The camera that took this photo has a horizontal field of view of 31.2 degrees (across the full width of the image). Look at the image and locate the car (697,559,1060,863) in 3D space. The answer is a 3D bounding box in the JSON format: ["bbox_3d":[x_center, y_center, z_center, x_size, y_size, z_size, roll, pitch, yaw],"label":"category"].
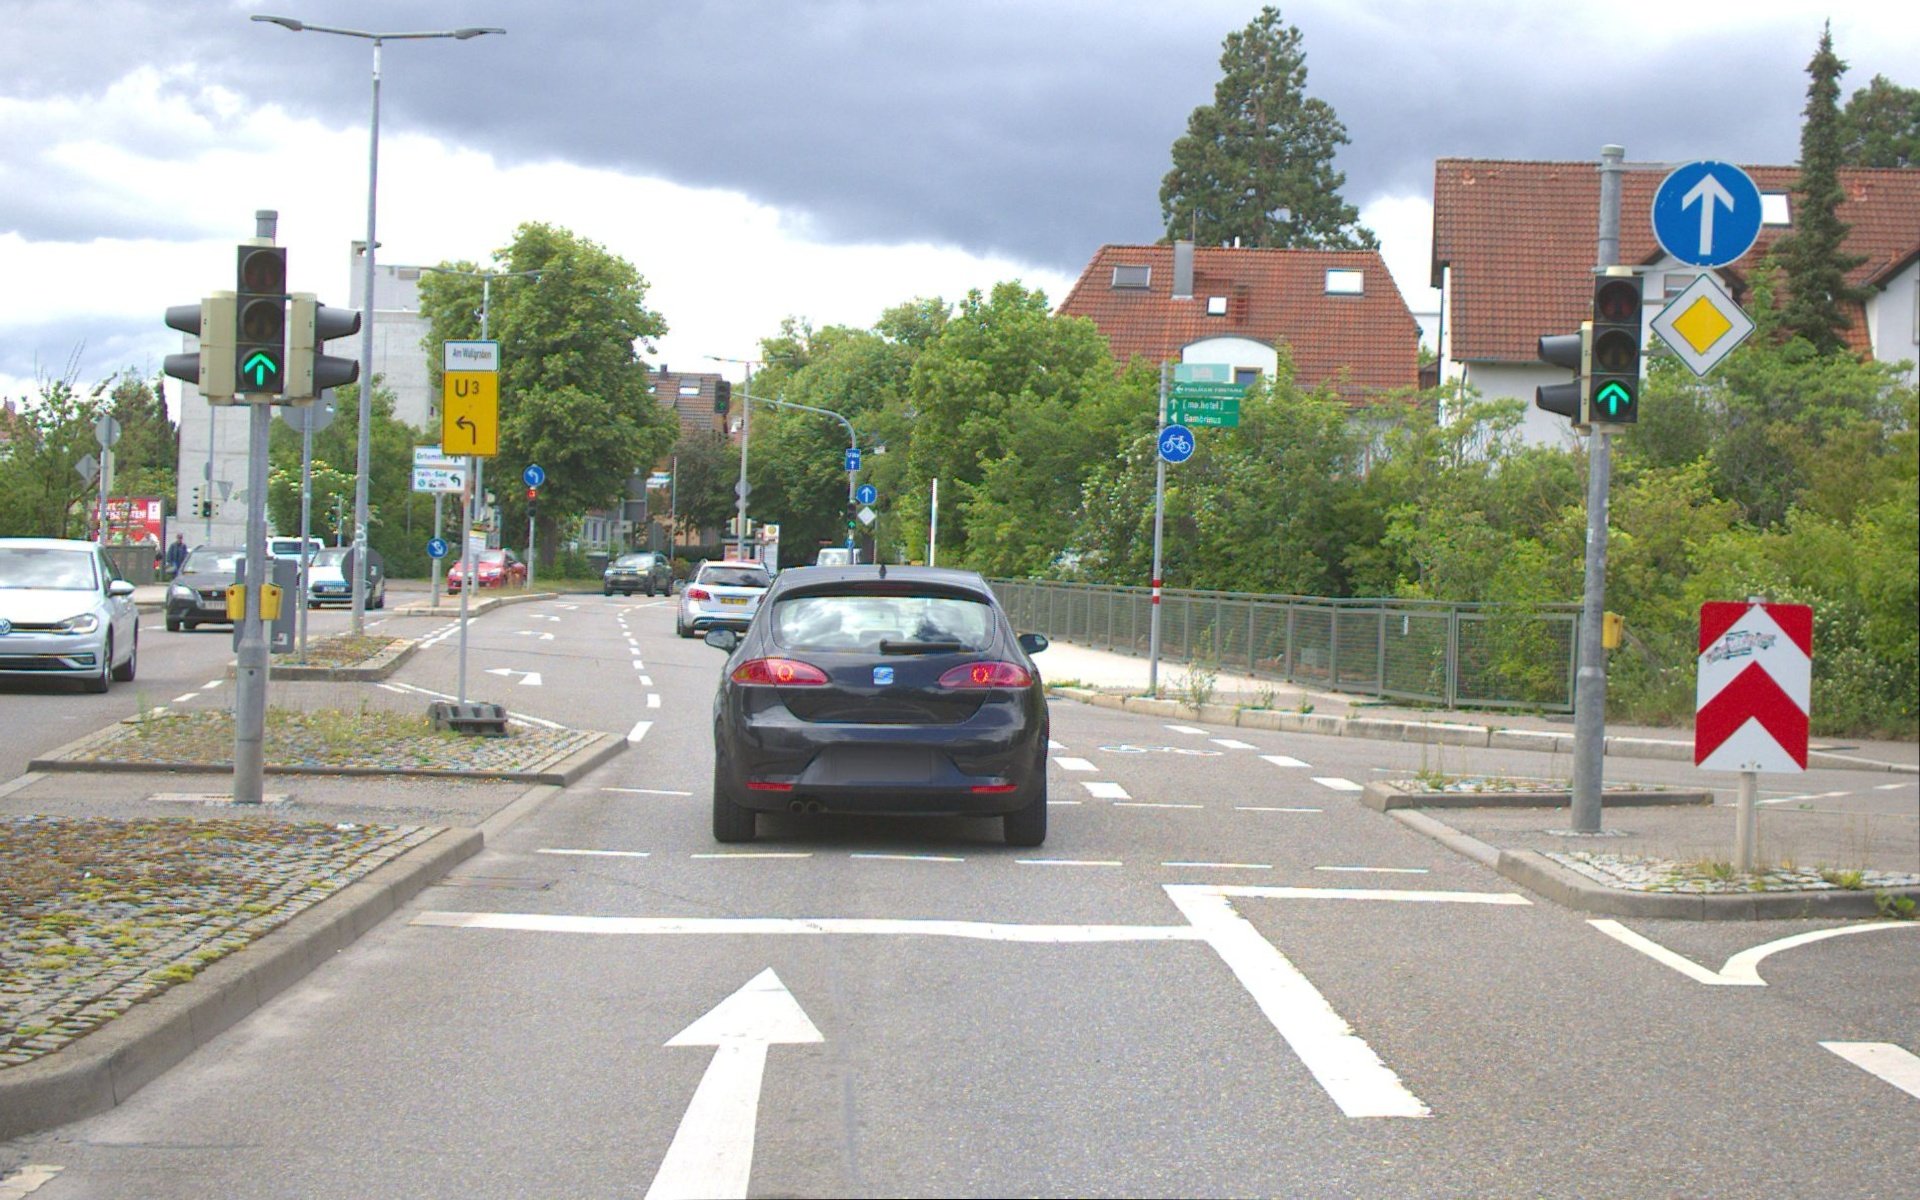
[{"bbox_3d":[-0.471,0.527,18.786,1.759,1.444,3.715,1,1,-2],"label":"car"}]

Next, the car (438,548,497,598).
[{"bbox_3d":[-15.185,-0.846,106.107,1.720,1.443,4.068,2,0,-7],"label":"car"}]

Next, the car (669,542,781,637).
[{"bbox_3d":[-4.496,-0.233,65.260,1.818,1.693,4.254,1,1,-8],"label":"car"}]

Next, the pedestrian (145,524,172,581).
[{"bbox_3d":[-23.439,-1.402,100.564,0.656,1.628,0.833,3,0,-12],"label":"pedestrian"}]

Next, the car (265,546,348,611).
[{"bbox_3d":[-15.202,-0.515,80.124,1.642,1.404,3.820,2,0,-7],"label":"car"}]

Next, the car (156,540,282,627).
[{"bbox_3d":[-12.324,-0.292,57.348,1.720,1.386,3.919,0,1,-7],"label":"car"}]

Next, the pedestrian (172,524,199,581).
[{"bbox_3d":[-22.683,-1.380,100.655,0.656,1.628,1.071,3,0,-12],"label":"pedestrian"}]

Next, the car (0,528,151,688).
[{"bbox_3d":[-8.996,0.040,33.401,1.798,1.439,3.949,1,1,-7],"label":"car"}]

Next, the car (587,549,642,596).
[{"bbox_3d":[-12.732,-1.020,126.526,1.822,1.621,4.280,2,0,-7],"label":"car"}]

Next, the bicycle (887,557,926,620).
[{"bbox_3d":[-1.308,-0.299,84.559,0.891,1.505,2.783,1,1,0],"label":"bicycle"}]
